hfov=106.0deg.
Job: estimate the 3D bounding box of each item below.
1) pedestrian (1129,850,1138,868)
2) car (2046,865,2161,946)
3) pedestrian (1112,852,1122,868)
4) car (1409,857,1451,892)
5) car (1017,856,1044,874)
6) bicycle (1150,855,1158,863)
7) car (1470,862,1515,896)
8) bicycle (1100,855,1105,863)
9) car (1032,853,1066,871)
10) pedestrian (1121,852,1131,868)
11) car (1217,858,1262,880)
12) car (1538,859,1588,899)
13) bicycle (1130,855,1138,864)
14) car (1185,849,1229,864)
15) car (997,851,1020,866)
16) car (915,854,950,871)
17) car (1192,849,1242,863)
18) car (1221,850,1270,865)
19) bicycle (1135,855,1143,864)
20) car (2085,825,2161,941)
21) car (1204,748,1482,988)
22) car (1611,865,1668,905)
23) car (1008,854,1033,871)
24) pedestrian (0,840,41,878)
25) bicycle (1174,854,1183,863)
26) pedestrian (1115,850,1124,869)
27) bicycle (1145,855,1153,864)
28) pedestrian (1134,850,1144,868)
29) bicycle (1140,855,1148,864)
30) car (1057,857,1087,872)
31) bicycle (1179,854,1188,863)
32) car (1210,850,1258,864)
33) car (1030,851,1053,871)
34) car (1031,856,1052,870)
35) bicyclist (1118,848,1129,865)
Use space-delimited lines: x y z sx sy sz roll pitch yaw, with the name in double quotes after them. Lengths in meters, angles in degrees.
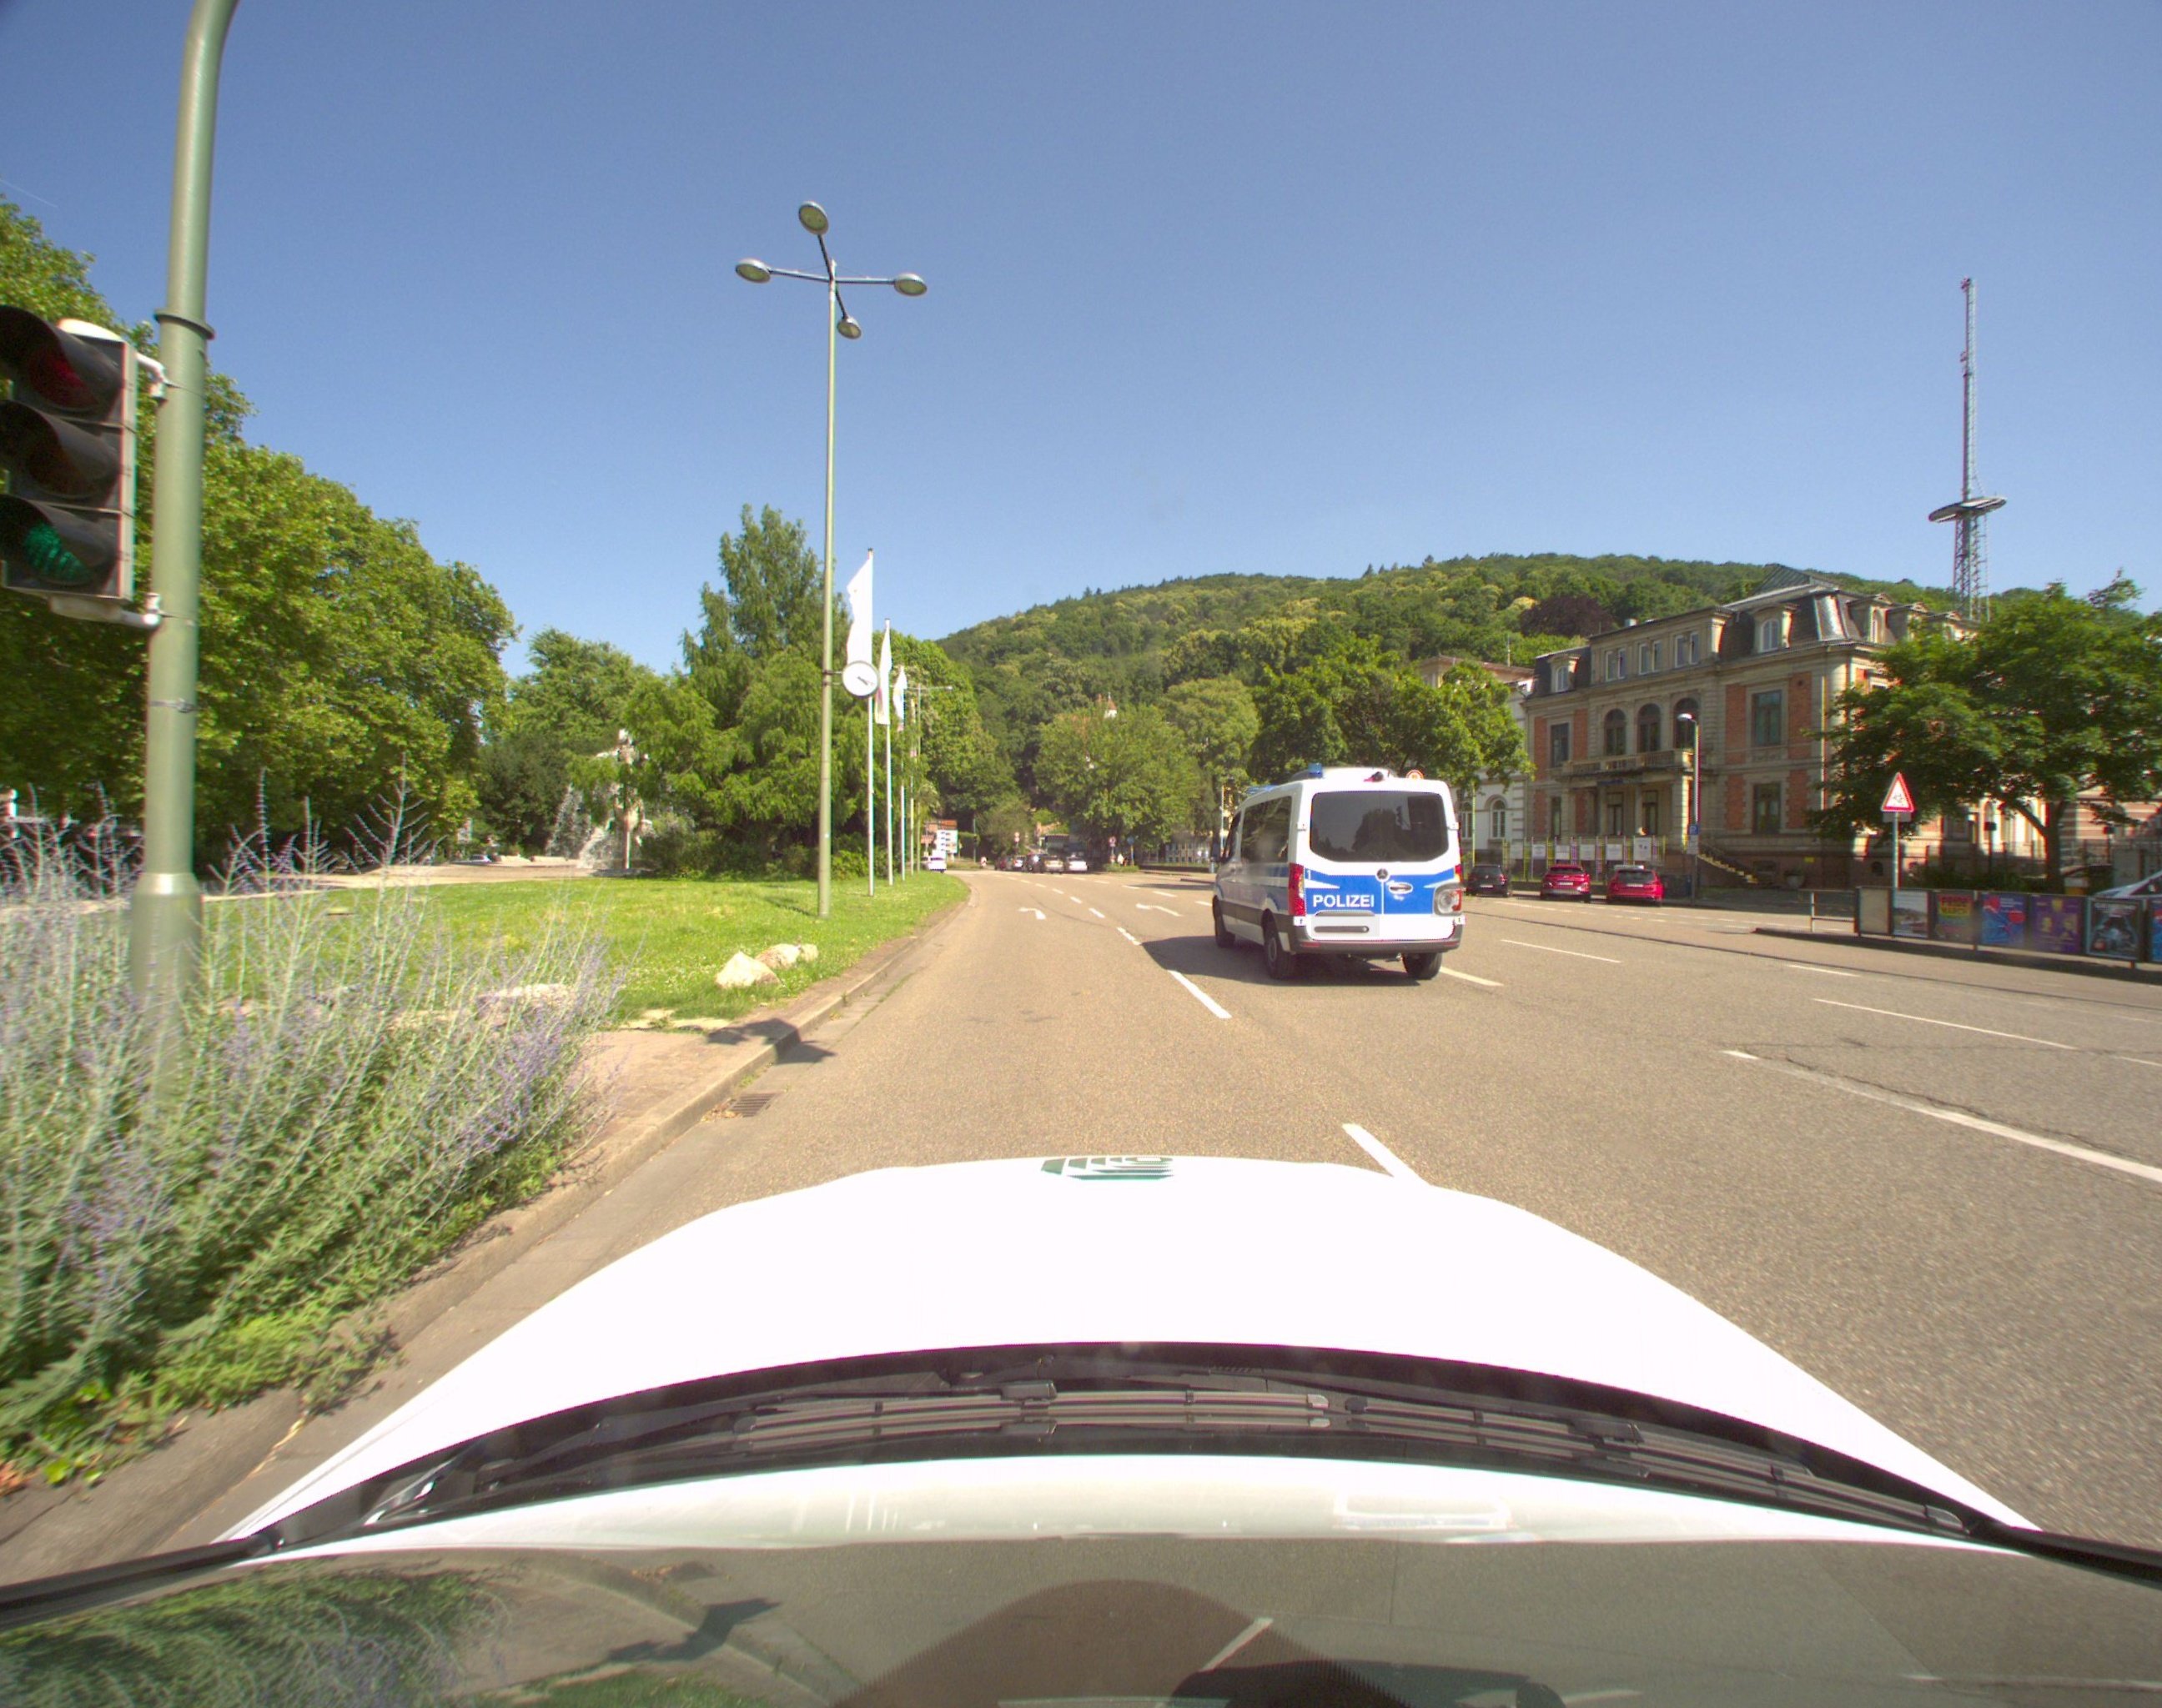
5.394 0.514 83.756 0.772 1.854 0.825 1 0 -15 "pedestrian"
23.260 1.080 16.270 1.824 1.626 4.842 1 0 -23 "car"
3.758 0.627 85.202 0.772 1.663 0.826 1 0 -13 "pedestrian"
17.741 0.989 41.307 1.692 1.629 4.341 1 0 26 "car"
-4.324 0.935 69.655 1.758 1.461 3.477 1 0 -14 "car"
9.026 0.610 100.374 0.537 1.085 1.828 0 0 -11 "bicycle"
18.924 1.102 37.377 1.585 1.417 3.844 1 0 30 "car"
2.691 0.632 102.371 0.405 0.941 1.335 0 0 -13 "bicycle"
-2.552 0.639 63.848 1.760 1.334 3.780 1 0 -16 "car"
4.631 0.645 83.707 0.771 1.663 0.826 1 0 -12 "pedestrian"
11.139 1.018 57.065 1.804 1.461 4.133 1 0 30 "car"
20.448 1.008 34.587 1.728 1.575 3.901 1 0 30 "car"
6.524 0.620 99.928 0.537 1.085 1.828 0 0 -11 "bicycle"
12.890 0.259 83.409 4.154 1.476 1.866 0 0 -19 "car"
-7.124 0.437 79.645 1.758 1.461 3.477 1 0 -14 "car"
-12.621 0.709 69.124 1.853 1.460 3.461 1 0 -29 "car"
13.113 0.210 78.551 4.475 1.336 1.812 0 0 -16 "car"
14.982 0.271 74.204 4.049 1.336 1.850 0 0 -16 "car"
7.155 0.618 100.057 0.537 1.085 1.828 0 0 -11 "bicycle"
25.830 0.682 17.346 2.002 2.603 5.279 1 0 -22 "car"
3.150 0.168 11.073 2.068 2.508 4.925 1 -1 -2 "car"
21.491 1.151 31.406 1.727 1.418 3.724 1 0 34 "car"
-5.578 0.781 74.523 1.758 1.461 3.629 1 0 -14 "car"
-34.631 0.159 26.287 0.750 1.226 1.061 1 0 8 "pedestrian"
12.033 0.598 100.942 0.537 1.085 1.828 0 0 -11 "bicycle"
3.916 0.556 83.082 0.771 1.854 0.826 1 0 -13 "pedestrian"
8.364 0.613 100.218 0.537 1.085 1.828 0 0 -11 "bicycle"
6.038 0.530 84.402 0.772 1.854 0.825 1 0 -15 "pedestrian"
7.736 0.616 100.191 0.537 1.085 1.828 0 0 -11 "bicycle"
-0.766 0.893 68.598 1.758 1.213 3.477 1 0 -14 "car"
12.728 0.595 100.905 0.537 1.085 1.828 0 0 -11 "bicycle"
14.327 0.285 76.244 4.093 1.336 1.812 0 0 -16 "car"
-4.014 0.724 82.105 1.758 1.938 3.477 1 0 -14 "car"
-4.408 0.952 90.271 1.758 1.461 3.477 1 0 -14 "car"
4.894 0.275 93.932 1.122 1.932 0.748 0 -1 -1 "bicyclist"
